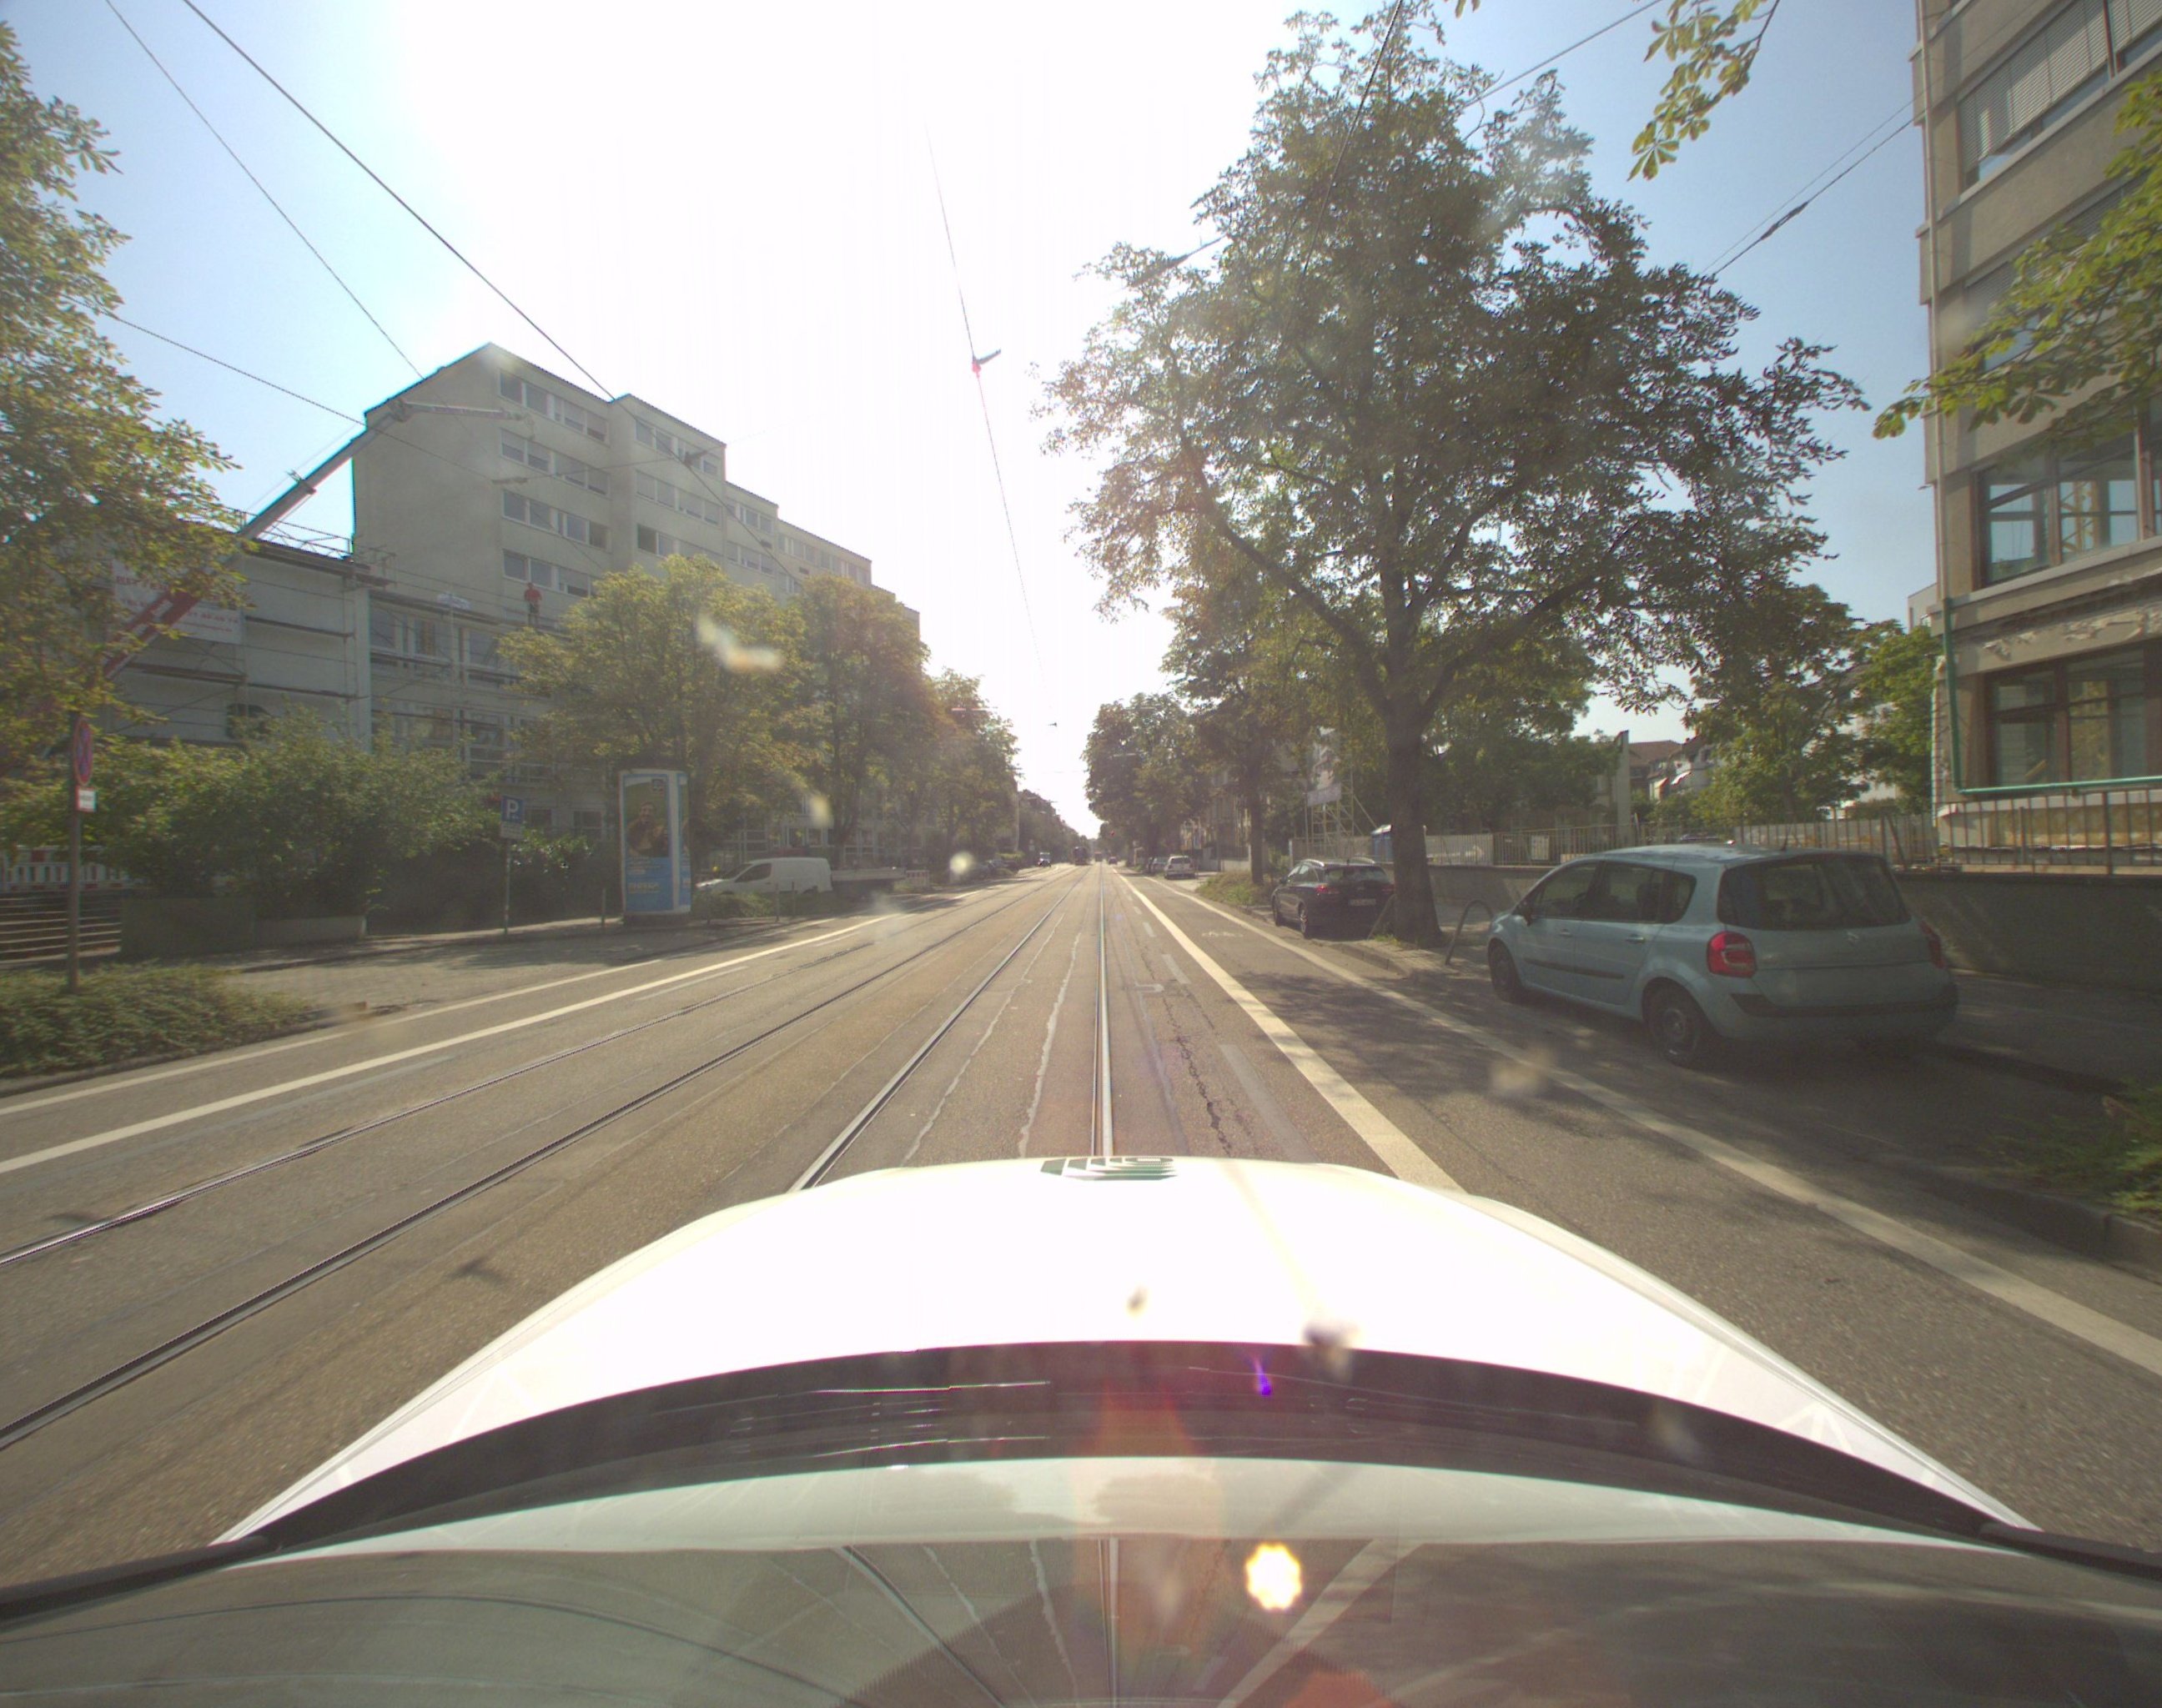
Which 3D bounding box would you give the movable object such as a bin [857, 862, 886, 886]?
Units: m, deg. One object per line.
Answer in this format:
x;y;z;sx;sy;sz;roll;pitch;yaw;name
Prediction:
-14.811;1.403;57.685;1.677;1.559;1.354;-2;0;0;movable object such as a bin

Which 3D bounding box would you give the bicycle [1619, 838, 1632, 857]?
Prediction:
37.259;-0.447;55.735;0.601;1.302;2.187;-1;0;32;bicycle

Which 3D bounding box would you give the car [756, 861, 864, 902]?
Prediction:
-11.200;1.108;33.777;3.882;1.508;1.700;-2;0;-42;car

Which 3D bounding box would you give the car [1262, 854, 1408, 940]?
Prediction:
5.119;0.777;17.090;1.668;1.458;4.665;-2;0;1;car

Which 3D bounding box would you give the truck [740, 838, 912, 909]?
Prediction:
-9.797;0.670;31.620;5.998;2.434;2.126;-2;0;-38;truck

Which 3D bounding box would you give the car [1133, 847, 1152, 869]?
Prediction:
6.931;0.446;91.822;1.986;2.365;4.001;-1;0;2;car

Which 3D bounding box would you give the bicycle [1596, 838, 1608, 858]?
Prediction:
36.081;-0.423;56.408;0.601;1.302;2.187;-1;0;32;bicycle

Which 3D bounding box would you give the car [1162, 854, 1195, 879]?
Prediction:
5.995;0.747;50.497;1.783;1.446;3.737;-3;0;4;car

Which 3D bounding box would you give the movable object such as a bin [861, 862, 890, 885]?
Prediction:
-14.944;1.410;59.309;1.677;1.559;1.354;-2;0;0;movable object such as a bin

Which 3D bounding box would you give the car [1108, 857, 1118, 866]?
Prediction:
6.264;1.489;158.687;1.986;1.801;4.001;-1;0;2;car

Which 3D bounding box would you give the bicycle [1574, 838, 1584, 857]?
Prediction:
34.915;-0.426;57.091;0.601;1.302;2.187;-1;0;32;bicycle

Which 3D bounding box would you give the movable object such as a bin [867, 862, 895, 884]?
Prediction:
-14.895;1.393;60.719;1.677;1.559;1.354;-2;0;0;movable object such as a bin

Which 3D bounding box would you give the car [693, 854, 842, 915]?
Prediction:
-10.513;0.969;27.516;4.309;1.772;1.803;-2;0;-42;car

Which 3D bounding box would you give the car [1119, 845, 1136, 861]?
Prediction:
6.725;-0.189;119.046;1.989;2.233;3.995;-2;0;-4;car

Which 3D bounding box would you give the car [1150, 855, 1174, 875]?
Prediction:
6.339;0.832;64.059;1.635;1.511;3.642;-1;0;2;car

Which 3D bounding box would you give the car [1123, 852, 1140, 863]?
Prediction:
6.898;0.485;112.458;1.988;1.398;3.998;-1;0;-1;car

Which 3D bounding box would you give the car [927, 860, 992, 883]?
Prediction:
-9.021;1.274;60.839;1.656;1.451;4.717;-1;1;44;car

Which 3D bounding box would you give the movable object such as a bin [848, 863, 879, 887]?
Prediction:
-14.566;1.394;54.669;1.677;1.559;1.354;-2;0;0;movable object such as a bin

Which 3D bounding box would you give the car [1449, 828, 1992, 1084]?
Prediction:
5.109;0.671;7.400;1.668;1.580;4.173;-3;0;1;car

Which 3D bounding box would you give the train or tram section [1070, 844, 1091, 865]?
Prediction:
-0.014;0.075;155.471;3.483;3.704;12.419;-1;0;2;train or tram section

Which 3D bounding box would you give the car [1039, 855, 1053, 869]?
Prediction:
-6.070;1.401;141.762;2.236;2.441;3.997;-1;0;-2;car

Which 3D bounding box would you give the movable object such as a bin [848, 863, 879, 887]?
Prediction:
-14.981;1.413;56.108;1.677;1.559;1.354;-2;0;0;movable object such as a bin

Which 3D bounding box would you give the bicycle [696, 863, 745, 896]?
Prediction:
-16.991;1.179;38.355;2.318;1.525;0.605;0;0;21;bicycle

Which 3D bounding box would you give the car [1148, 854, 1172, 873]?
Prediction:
6.747;0.785;69.894;1.787;1.577;4.003;-1;0;3;car

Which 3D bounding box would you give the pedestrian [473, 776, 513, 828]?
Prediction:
-20.599;-1.810;28.541;0.744;1.726;0.854;-1;-1;16;pedestrian
